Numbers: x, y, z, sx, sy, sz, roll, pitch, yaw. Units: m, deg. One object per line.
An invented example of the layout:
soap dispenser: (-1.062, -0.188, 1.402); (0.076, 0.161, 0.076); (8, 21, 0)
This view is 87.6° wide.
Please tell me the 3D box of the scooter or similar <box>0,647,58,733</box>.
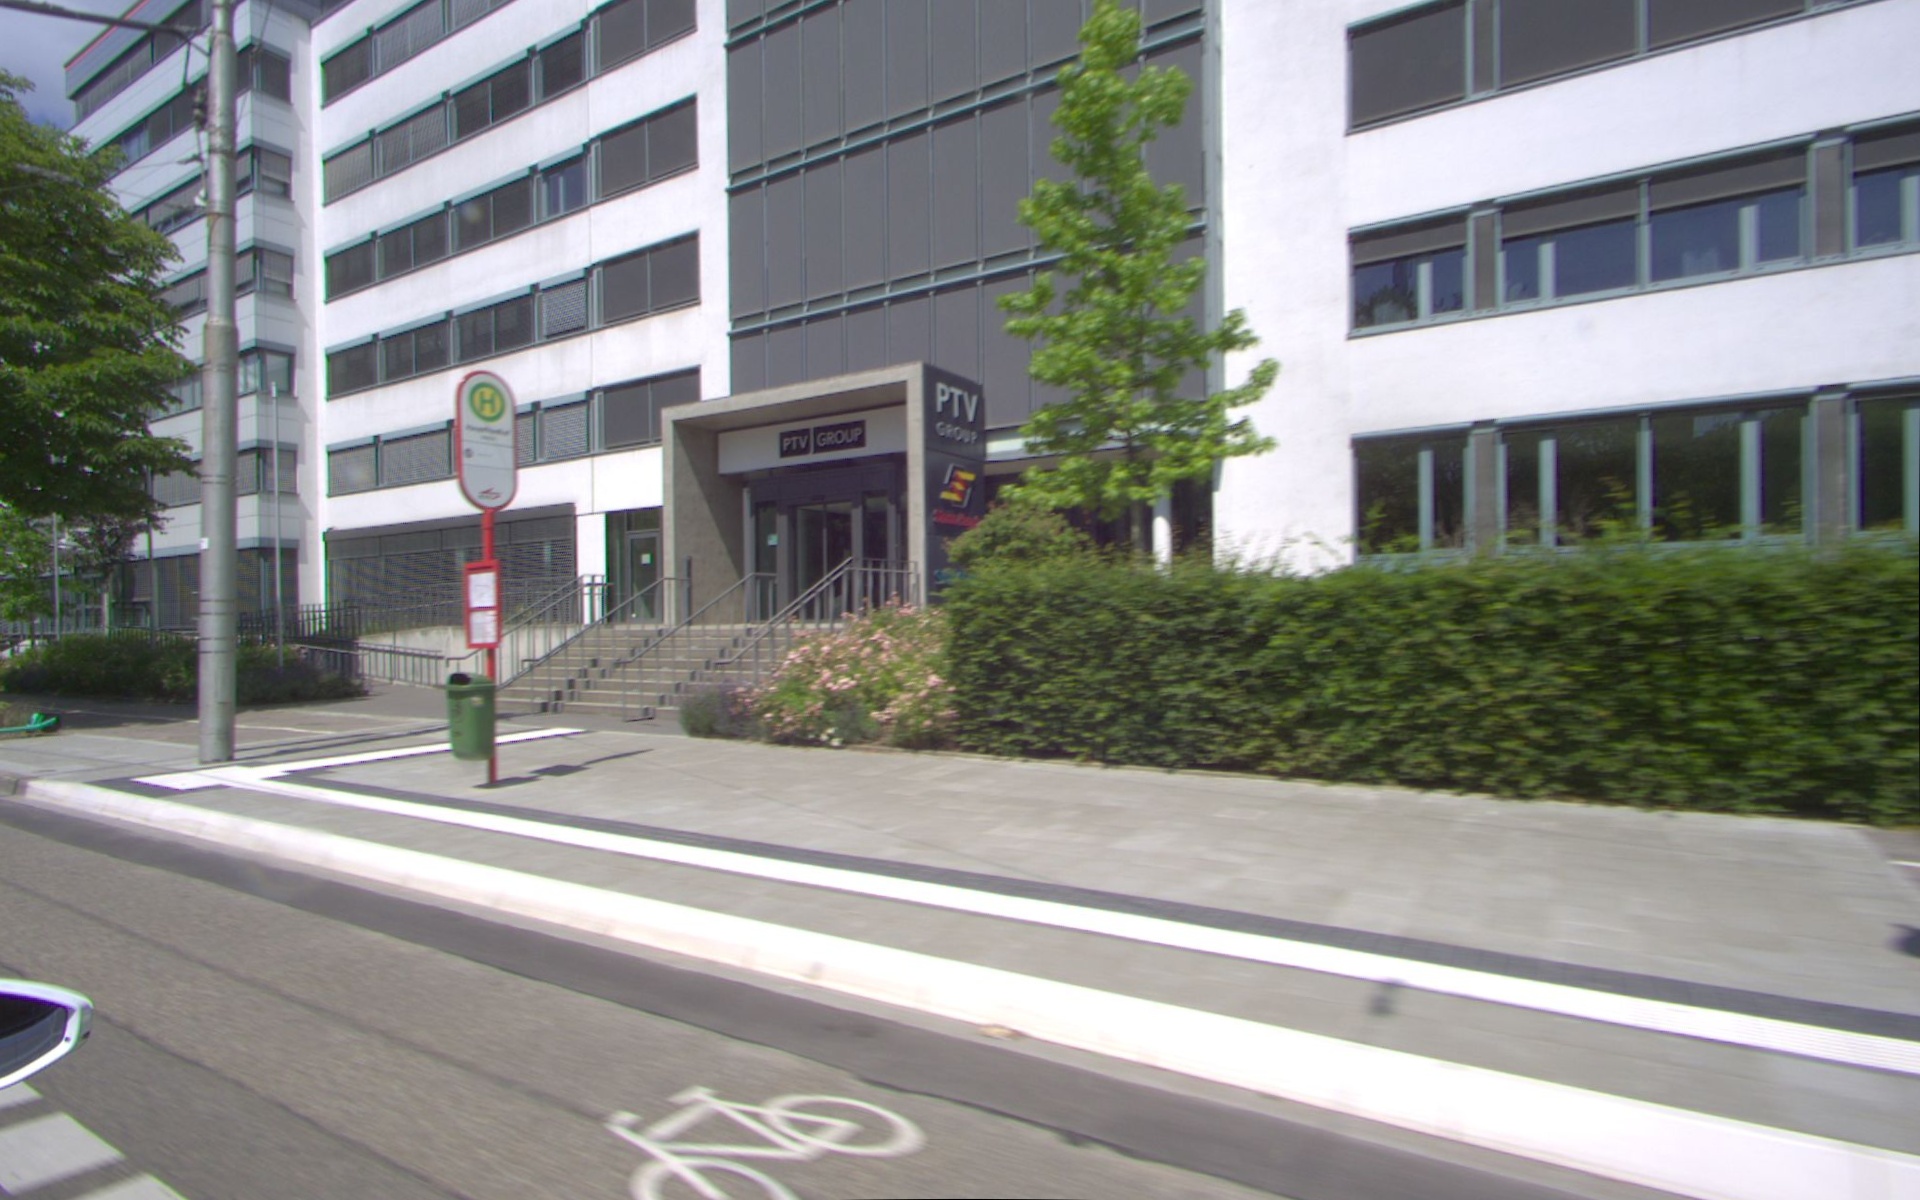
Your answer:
scooter or similar: (-13.436, 1.265, 14.071); (0.365, 1.171, 1.056); (-1, 0, 33)
